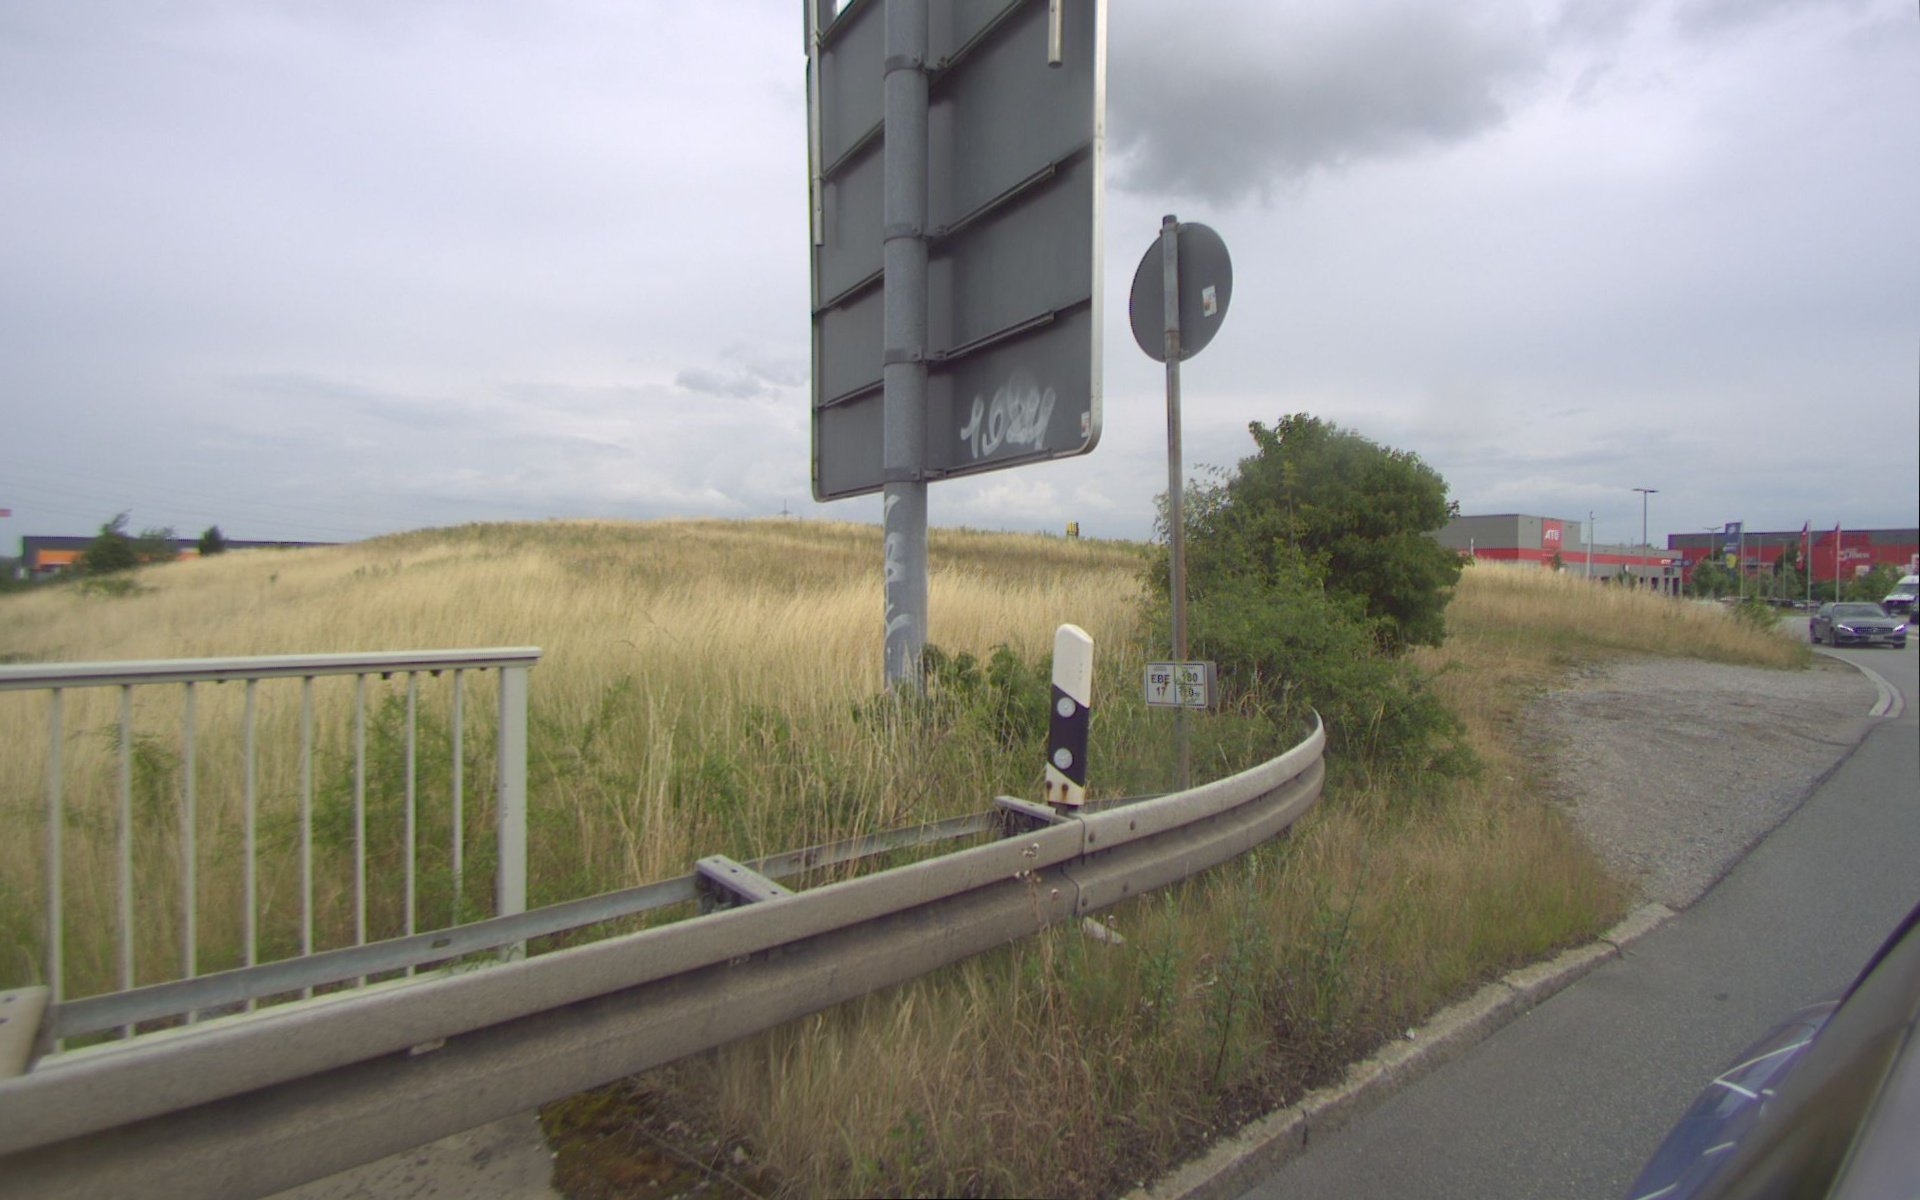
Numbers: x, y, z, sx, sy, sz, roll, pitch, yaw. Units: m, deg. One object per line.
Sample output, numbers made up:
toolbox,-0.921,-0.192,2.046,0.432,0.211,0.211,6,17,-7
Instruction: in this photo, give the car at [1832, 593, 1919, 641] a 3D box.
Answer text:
car,30.167,0.532,33.286,4.021,1.438,1.762,-1,0,-42

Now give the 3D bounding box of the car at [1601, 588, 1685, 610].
car,46.041,-0.092,68.345,4.515,1.429,1.842,0,0,29

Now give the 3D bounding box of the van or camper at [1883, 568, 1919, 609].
van or camper,59.525,-0.731,61.711,5.425,2.394,2.057,-1,0,-14
